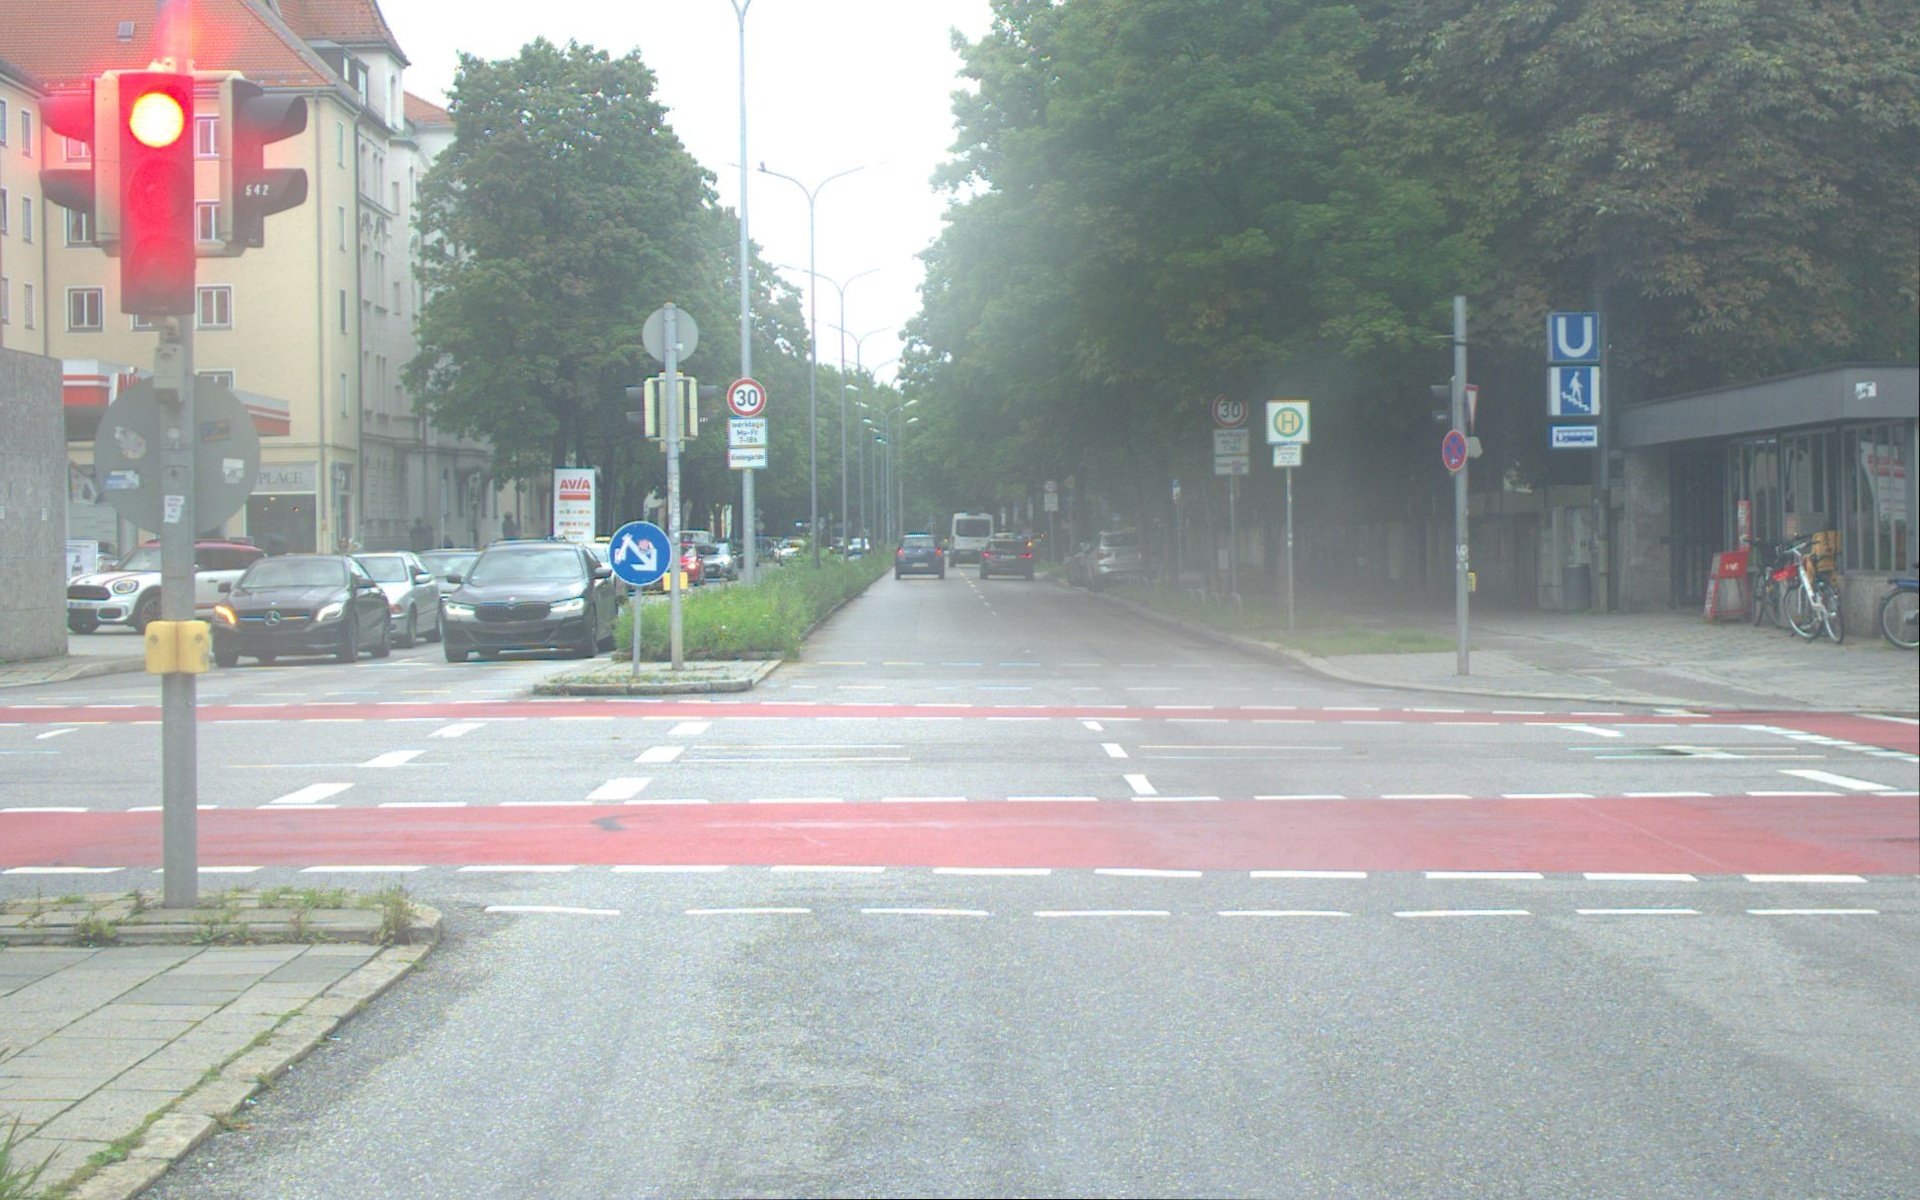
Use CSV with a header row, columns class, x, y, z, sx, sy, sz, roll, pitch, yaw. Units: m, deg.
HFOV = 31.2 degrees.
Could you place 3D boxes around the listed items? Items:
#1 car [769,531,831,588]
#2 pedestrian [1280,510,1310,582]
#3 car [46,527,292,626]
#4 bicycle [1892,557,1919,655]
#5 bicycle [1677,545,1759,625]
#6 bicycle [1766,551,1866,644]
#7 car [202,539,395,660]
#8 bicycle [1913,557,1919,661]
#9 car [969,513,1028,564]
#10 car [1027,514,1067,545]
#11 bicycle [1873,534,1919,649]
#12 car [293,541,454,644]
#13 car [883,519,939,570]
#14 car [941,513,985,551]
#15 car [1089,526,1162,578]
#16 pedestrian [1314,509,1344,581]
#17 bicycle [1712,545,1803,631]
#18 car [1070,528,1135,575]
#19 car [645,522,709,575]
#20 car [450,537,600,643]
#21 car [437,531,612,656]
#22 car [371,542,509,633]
class,x,y,z,sx,sy,sz,roll,pitch,yaw
car,-4.097,-1.054,88.365,1.468,1.394,3.700,-1,1,-1
pedestrian,7.857,-1.258,80.551,0.678,1.677,0.682,0,1,6
car,-13.506,-0.430,58.868,1.814,1.603,3.960,0,2,32
bicycle,10.877,0.055,35.912,2.143,1.011,0.603,0,1,8
bicycle,9.950,-0.204,45.192,0.556,1.011,2.016,-1,1,-2
bicycle,9.735,-0.046,39.151,0.556,1.011,2.016,-1,1,-2
car,-8.531,-0.041,44.623,1.760,1.455,4.000,-1,1,-1
bicycle,10.855,0.085,35.031,2.143,1.058,0.603,0,1,8
car,1.294,-2.092,117.538,1.922,1.678,4.000,1,1,0
car,4.097,-3.343,162.658,1.743,1.422,3.899,-1,1,-1
bicycle,10.871,-0.101,36.628,2.143,1.214,0.603,0,1,8
car,-8.771,-0.144,51.713,1.760,1.455,4.000,-1,1,-1
car,-1.648,-1.891,116.610,1.857,1.678,4.000,-1,1,-1
car,0.128,-3.175,160.784,1.993,1.750,4.000,-1,1,-1
car,4.443,-1.318,92.809,1.743,1.358,3.807,-1,1,-1
pedestrian,8.661,-1.295,80.689,0.678,1.677,0.682,0,1,6
bicycle,9.701,-0.156,41.881,0.556,1.011,2.016,-1,1,-2
car,4.245,-1.459,103.043,1.743,1.358,3.807,-1,1,-1
car,-9.198,-1.698,111.861,1.876,1.662,4.001,-1,1,-2
car,-6.446,-0.176,51.327,1.760,1.488,4.000,-1,1,-1
car,-5.498,-0.115,43.819,1.760,1.488,4.000,-1,1,-1
car,-8.813,-0.232,58.535,1.760,1.455,4.000,-1,1,-1
